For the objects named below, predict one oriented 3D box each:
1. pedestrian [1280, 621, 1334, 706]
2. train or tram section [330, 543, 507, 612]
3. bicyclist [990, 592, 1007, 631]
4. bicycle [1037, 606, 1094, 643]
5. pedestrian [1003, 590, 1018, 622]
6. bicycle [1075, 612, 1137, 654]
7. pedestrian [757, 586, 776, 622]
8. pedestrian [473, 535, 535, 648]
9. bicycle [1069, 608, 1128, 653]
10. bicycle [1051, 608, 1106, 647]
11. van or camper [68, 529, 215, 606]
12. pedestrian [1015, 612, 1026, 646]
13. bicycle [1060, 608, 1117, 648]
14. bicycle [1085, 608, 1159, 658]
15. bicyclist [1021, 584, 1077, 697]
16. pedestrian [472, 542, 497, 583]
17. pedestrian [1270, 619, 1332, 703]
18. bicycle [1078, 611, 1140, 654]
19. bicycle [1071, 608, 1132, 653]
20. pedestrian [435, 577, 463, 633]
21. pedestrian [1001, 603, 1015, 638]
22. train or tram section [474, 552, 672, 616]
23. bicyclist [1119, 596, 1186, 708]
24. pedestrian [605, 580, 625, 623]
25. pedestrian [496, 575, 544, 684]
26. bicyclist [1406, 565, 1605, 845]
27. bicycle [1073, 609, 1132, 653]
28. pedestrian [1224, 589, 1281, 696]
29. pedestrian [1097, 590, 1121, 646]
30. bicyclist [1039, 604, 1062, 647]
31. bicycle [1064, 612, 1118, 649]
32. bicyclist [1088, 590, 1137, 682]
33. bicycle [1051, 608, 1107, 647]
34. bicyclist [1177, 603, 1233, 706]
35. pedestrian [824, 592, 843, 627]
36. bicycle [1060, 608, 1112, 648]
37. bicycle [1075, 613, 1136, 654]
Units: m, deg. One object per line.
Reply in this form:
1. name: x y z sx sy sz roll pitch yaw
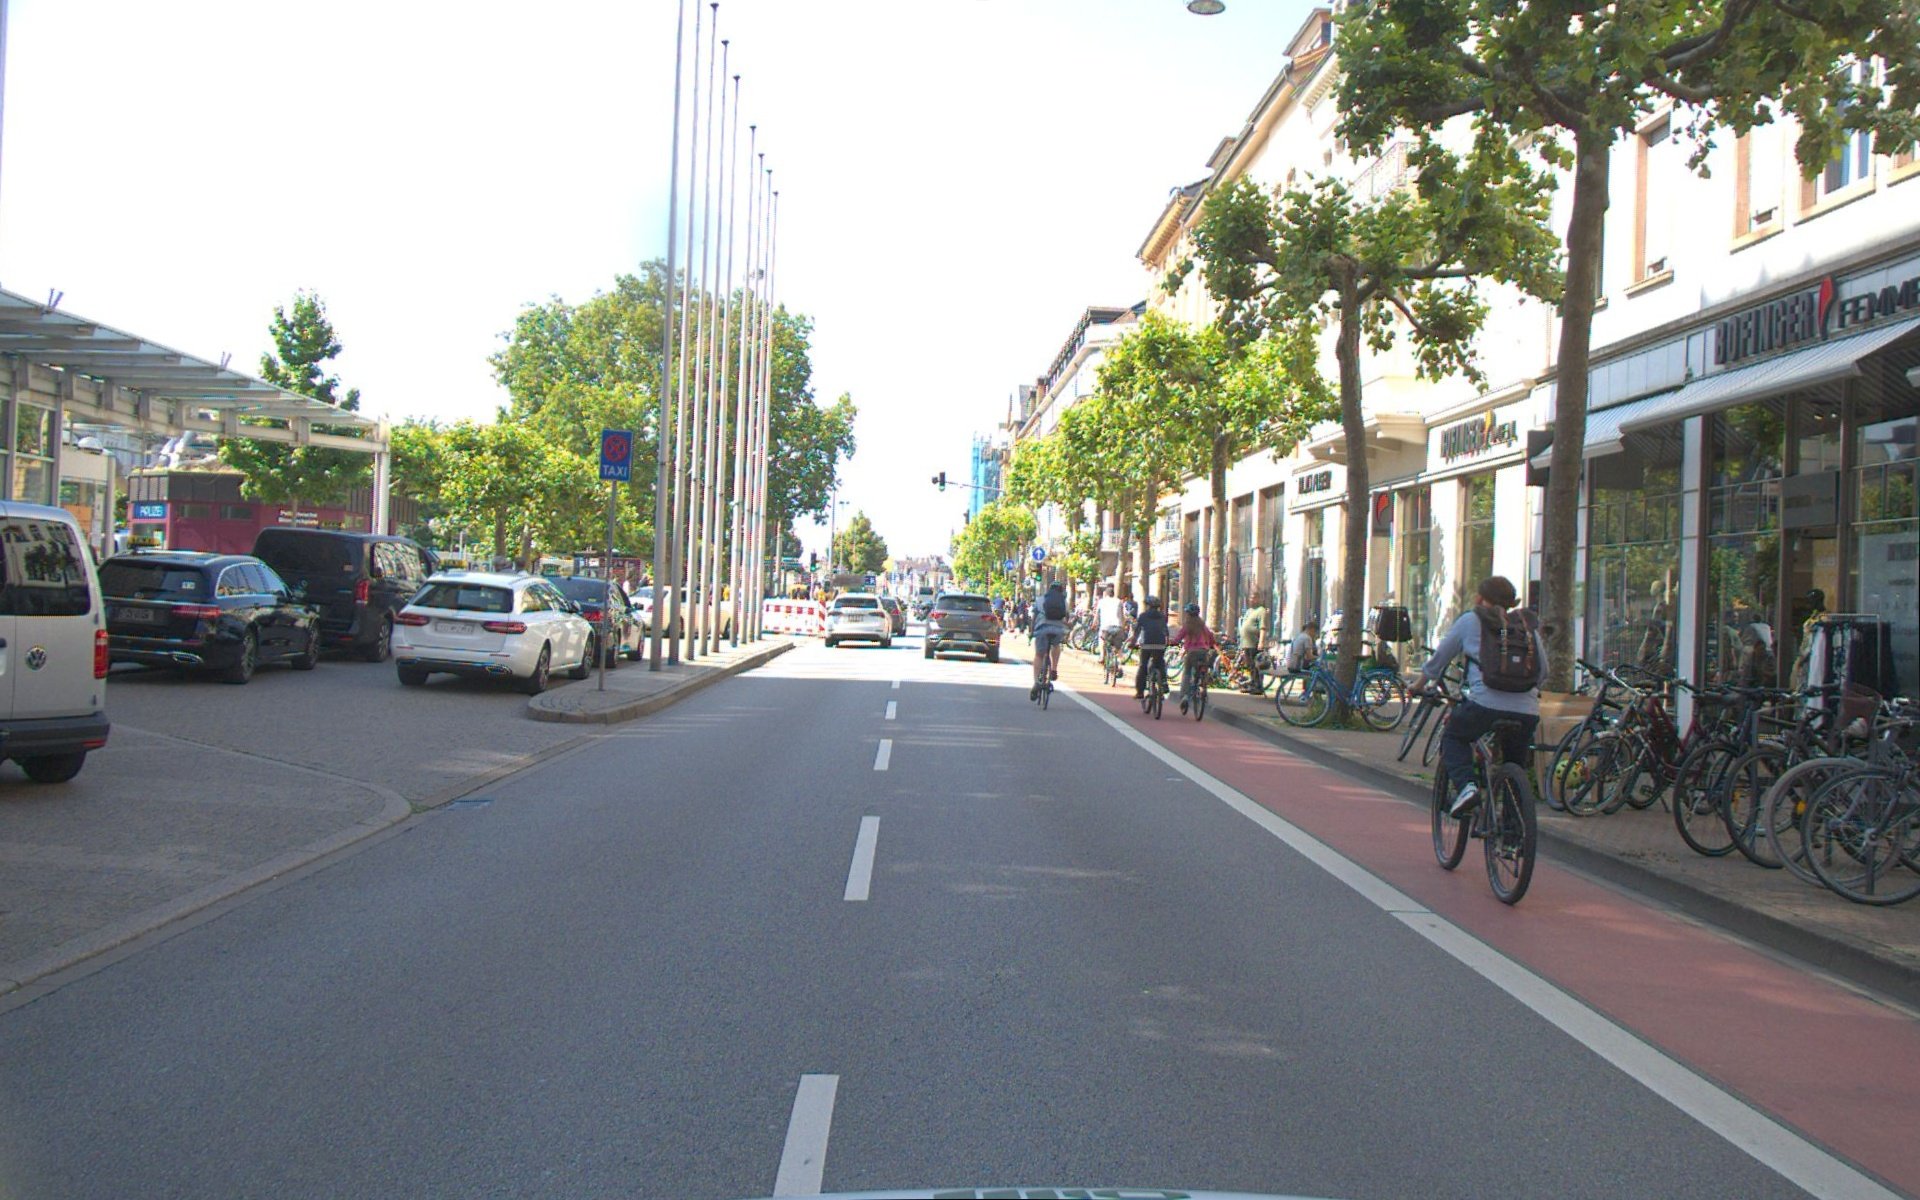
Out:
1. pedestrian: 5.350 0.972 25.503 0.626 1.254 0.596 3 -1 -4
2. train or tram section: -32.958 -1.300 101.295 2.567 3.741 10.969 2 0 33
3. bicyclist: 1.605 0.470 68.861 0.634 1.578 0.817 2 0 -2
4. bicycle: 3.855 0.901 60.374 1.905 1.279 0.701 2 0 -21
5. pedestrian: 2.485 0.282 81.719 0.598 1.542 0.677 -2 -1 -4
6. bicycle: 4.195 0.953 47.516 1.693 1.128 0.402 2 0 0
7. pedestrian: -9.890 0.214 84.513 0.619 1.842 0.731 2 -1 19
8. pedestrian: -7.482 -0.132 27.142 0.608 1.824 0.690 2 0 38
9. bicycle: 4.100 0.903 49.019 1.693 1.238 0.477 2 0 0
10. bicycle: 4.004 0.922 55.964 1.806 1.222 0.608 2 0 0
11. van or camper: -23.097 -0.864 46.924 1.835 1.952 5.021 2 -1 -3
12. pedestrian: 2.798 1.336 76.608 0.512 1.548 0.641 1 -1 1
13. bicycle: 4.237 0.924 54.660 1.806 1.222 0.474 2 0 0
14. bicycle: 4.380 0.888 44.774 1.892 1.270 0.736 2 0 0
15. bicyclist: 1.221 0.549 22.957 0.617 1.507 1.197 2 0 -2
16. pedestrian: -21.028 -1.670 73.169 0.593 1.780 0.802 1 -2 30
17. pedestrian: 5.373 0.954 26.078 0.772 1.265 0.575 3 -1 -4
18. bicycle: 4.232 0.924 47.103 1.693 1.128 0.402 2 0 0
19. bicycle: 4.128 0.892 48.295 1.693 1.238 0.477 2 0 0
20. pedestrian: -15.744 0.149 51.004 0.659 1.706 0.686 3 0 -10
21. pedestrian: 2.447 1.040 84.929 0.598 1.770 0.677 -2 -1 -4
22. train or tram section: -25.899 -0.977 112.144 2.567 3.741 15.501 2 0 33
23. bicyclist: 2.609 0.696 22.486 0.685 1.466 0.790 3 -1 -5
24. pedestrian: -14.659 0.075 70.301 0.572 1.752 0.789 2 -4 0
25. pedestrian: -7.471 0.502 28.085 0.522 1.824 0.537 2 0 38
26. bicyclist: 3.066 0.568 9.373 0.685 1.471 0.960 3 -1 -5
27. bicycle: 4.268 0.915 49.515 1.693 1.238 0.477 2 0 0
28. pedestrian: 4.914 0.709 27.805 0.626 1.718 0.843 4 0 -4
29. pedestrian: 4.431 0.533 49.270 0.602 1.640 0.744 2 0 -1
30. bicyclist: 3.817 1.070 69.729 0.569 1.829 0.846 0 0 -36
31. bicycle: 4.170 0.972 52.721 1.615 1.114 0.607 2 0 0
32. bicyclist: 2.832 0.662 30.774 0.759 1.664 0.851 2 0 -2
33. bicycle: 3.982 0.914 55.458 1.806 1.222 0.545 2 0 0
34. bicyclist: 3.325 0.739 22.493 0.588 1.381 0.720 1 -1 -5
35. pedestrian: -6.045 0.451 78.899 0.619 1.623 0.687 2 -1 19
36. bicycle: 4.124 0.917 54.243 1.615 1.222 0.474 2 0 0
37. bicycle: 4.217 0.971 47.936 1.693 1.128 0.477 2 0 0
